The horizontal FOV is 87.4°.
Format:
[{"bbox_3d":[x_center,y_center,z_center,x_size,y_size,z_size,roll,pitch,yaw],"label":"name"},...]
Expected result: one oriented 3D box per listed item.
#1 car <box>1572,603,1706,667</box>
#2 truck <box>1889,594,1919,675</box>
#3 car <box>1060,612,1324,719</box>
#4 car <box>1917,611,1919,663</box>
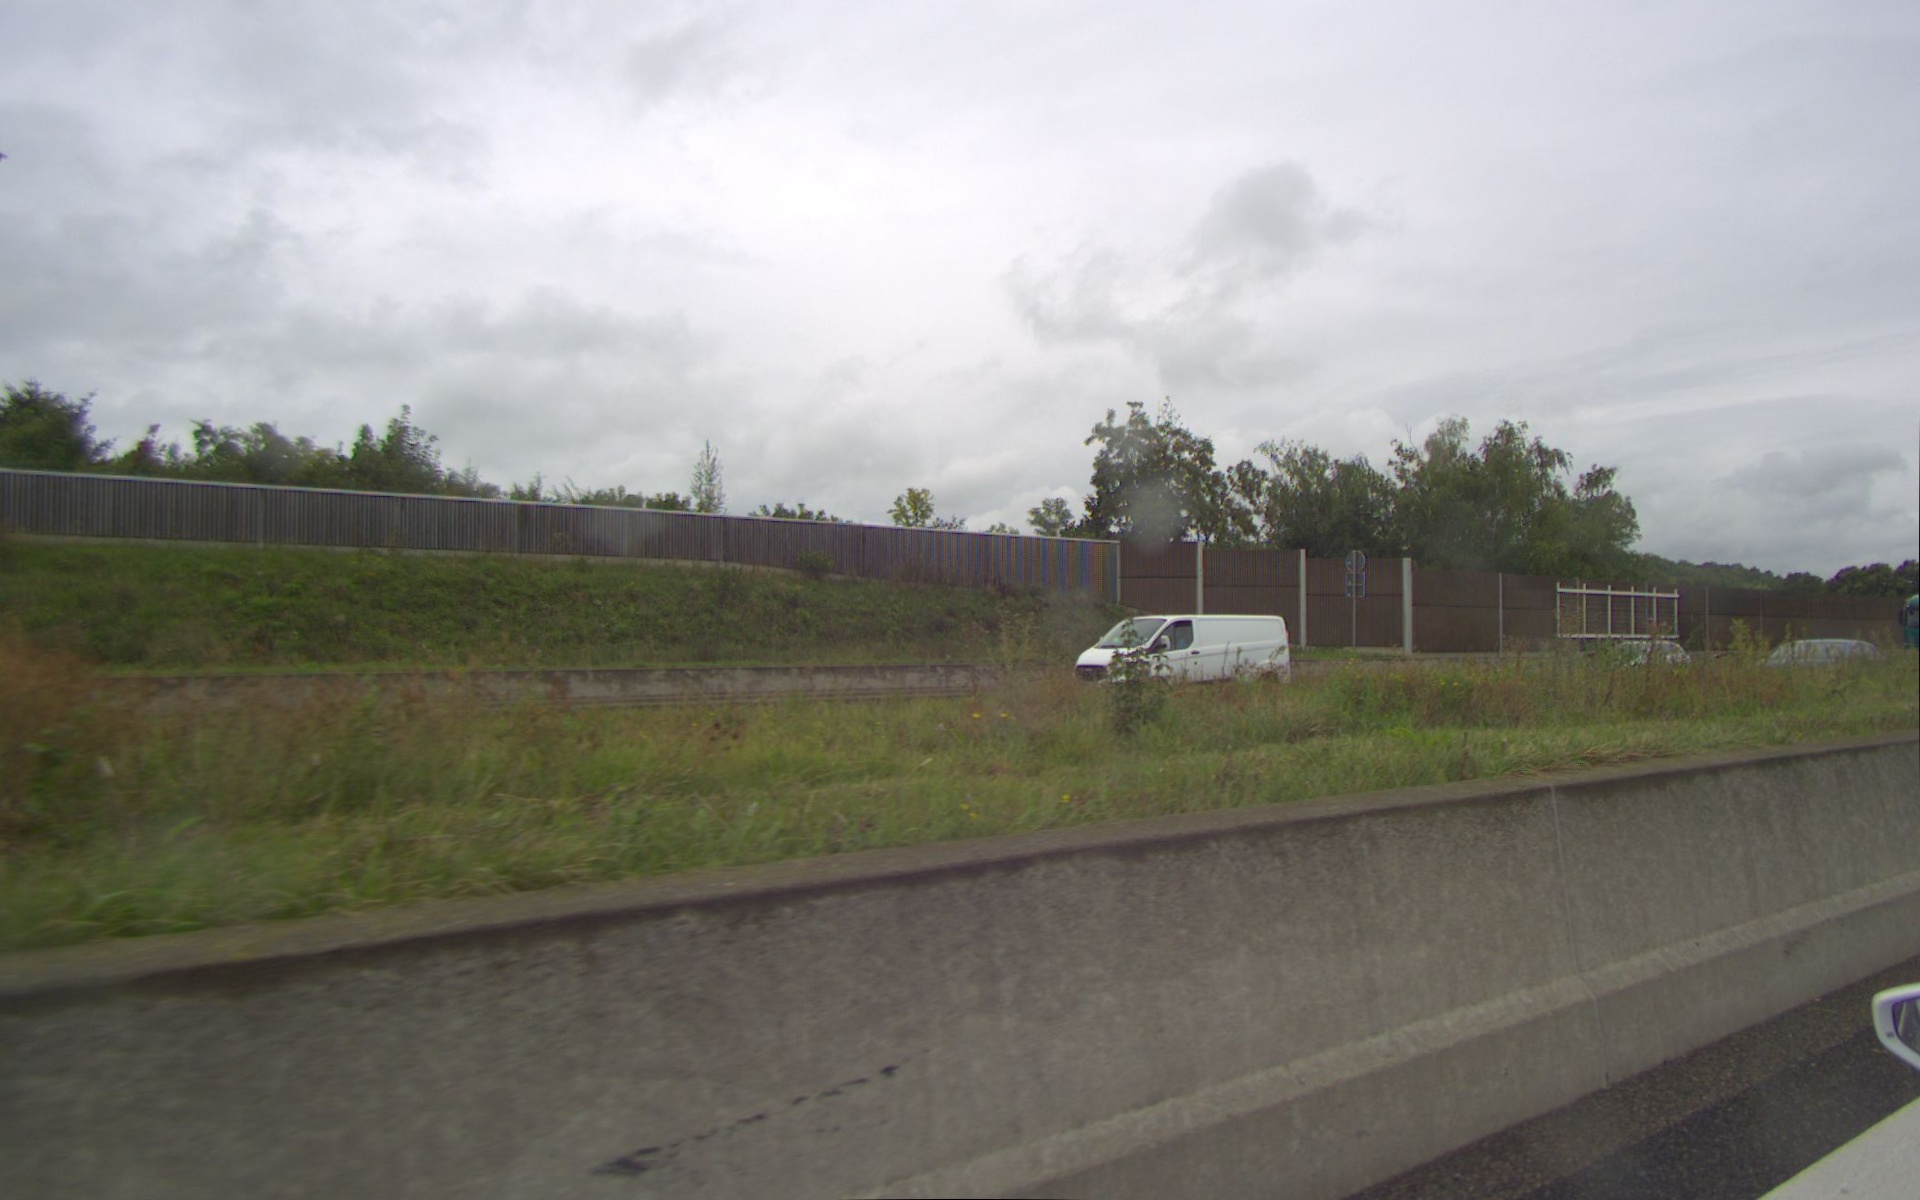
[{"bbox_3d":[23.010,1.162,34.003,4.597,2.040,1.984,1,0,-30],"label":"car"},{"bbox_3d":[49.462,1.753,49.913,7.436,3.889,2.848,2,0,-31],"label":"truck"},{"bbox_3d":[5.107,1.329,21.734,5.884,2.040,1.898,1,0,-30],"label":"car"},{"bbox_3d":[40.553,1.530,40.079,5.552,2.040,1.984,1,0,-30],"label":"car"}]
